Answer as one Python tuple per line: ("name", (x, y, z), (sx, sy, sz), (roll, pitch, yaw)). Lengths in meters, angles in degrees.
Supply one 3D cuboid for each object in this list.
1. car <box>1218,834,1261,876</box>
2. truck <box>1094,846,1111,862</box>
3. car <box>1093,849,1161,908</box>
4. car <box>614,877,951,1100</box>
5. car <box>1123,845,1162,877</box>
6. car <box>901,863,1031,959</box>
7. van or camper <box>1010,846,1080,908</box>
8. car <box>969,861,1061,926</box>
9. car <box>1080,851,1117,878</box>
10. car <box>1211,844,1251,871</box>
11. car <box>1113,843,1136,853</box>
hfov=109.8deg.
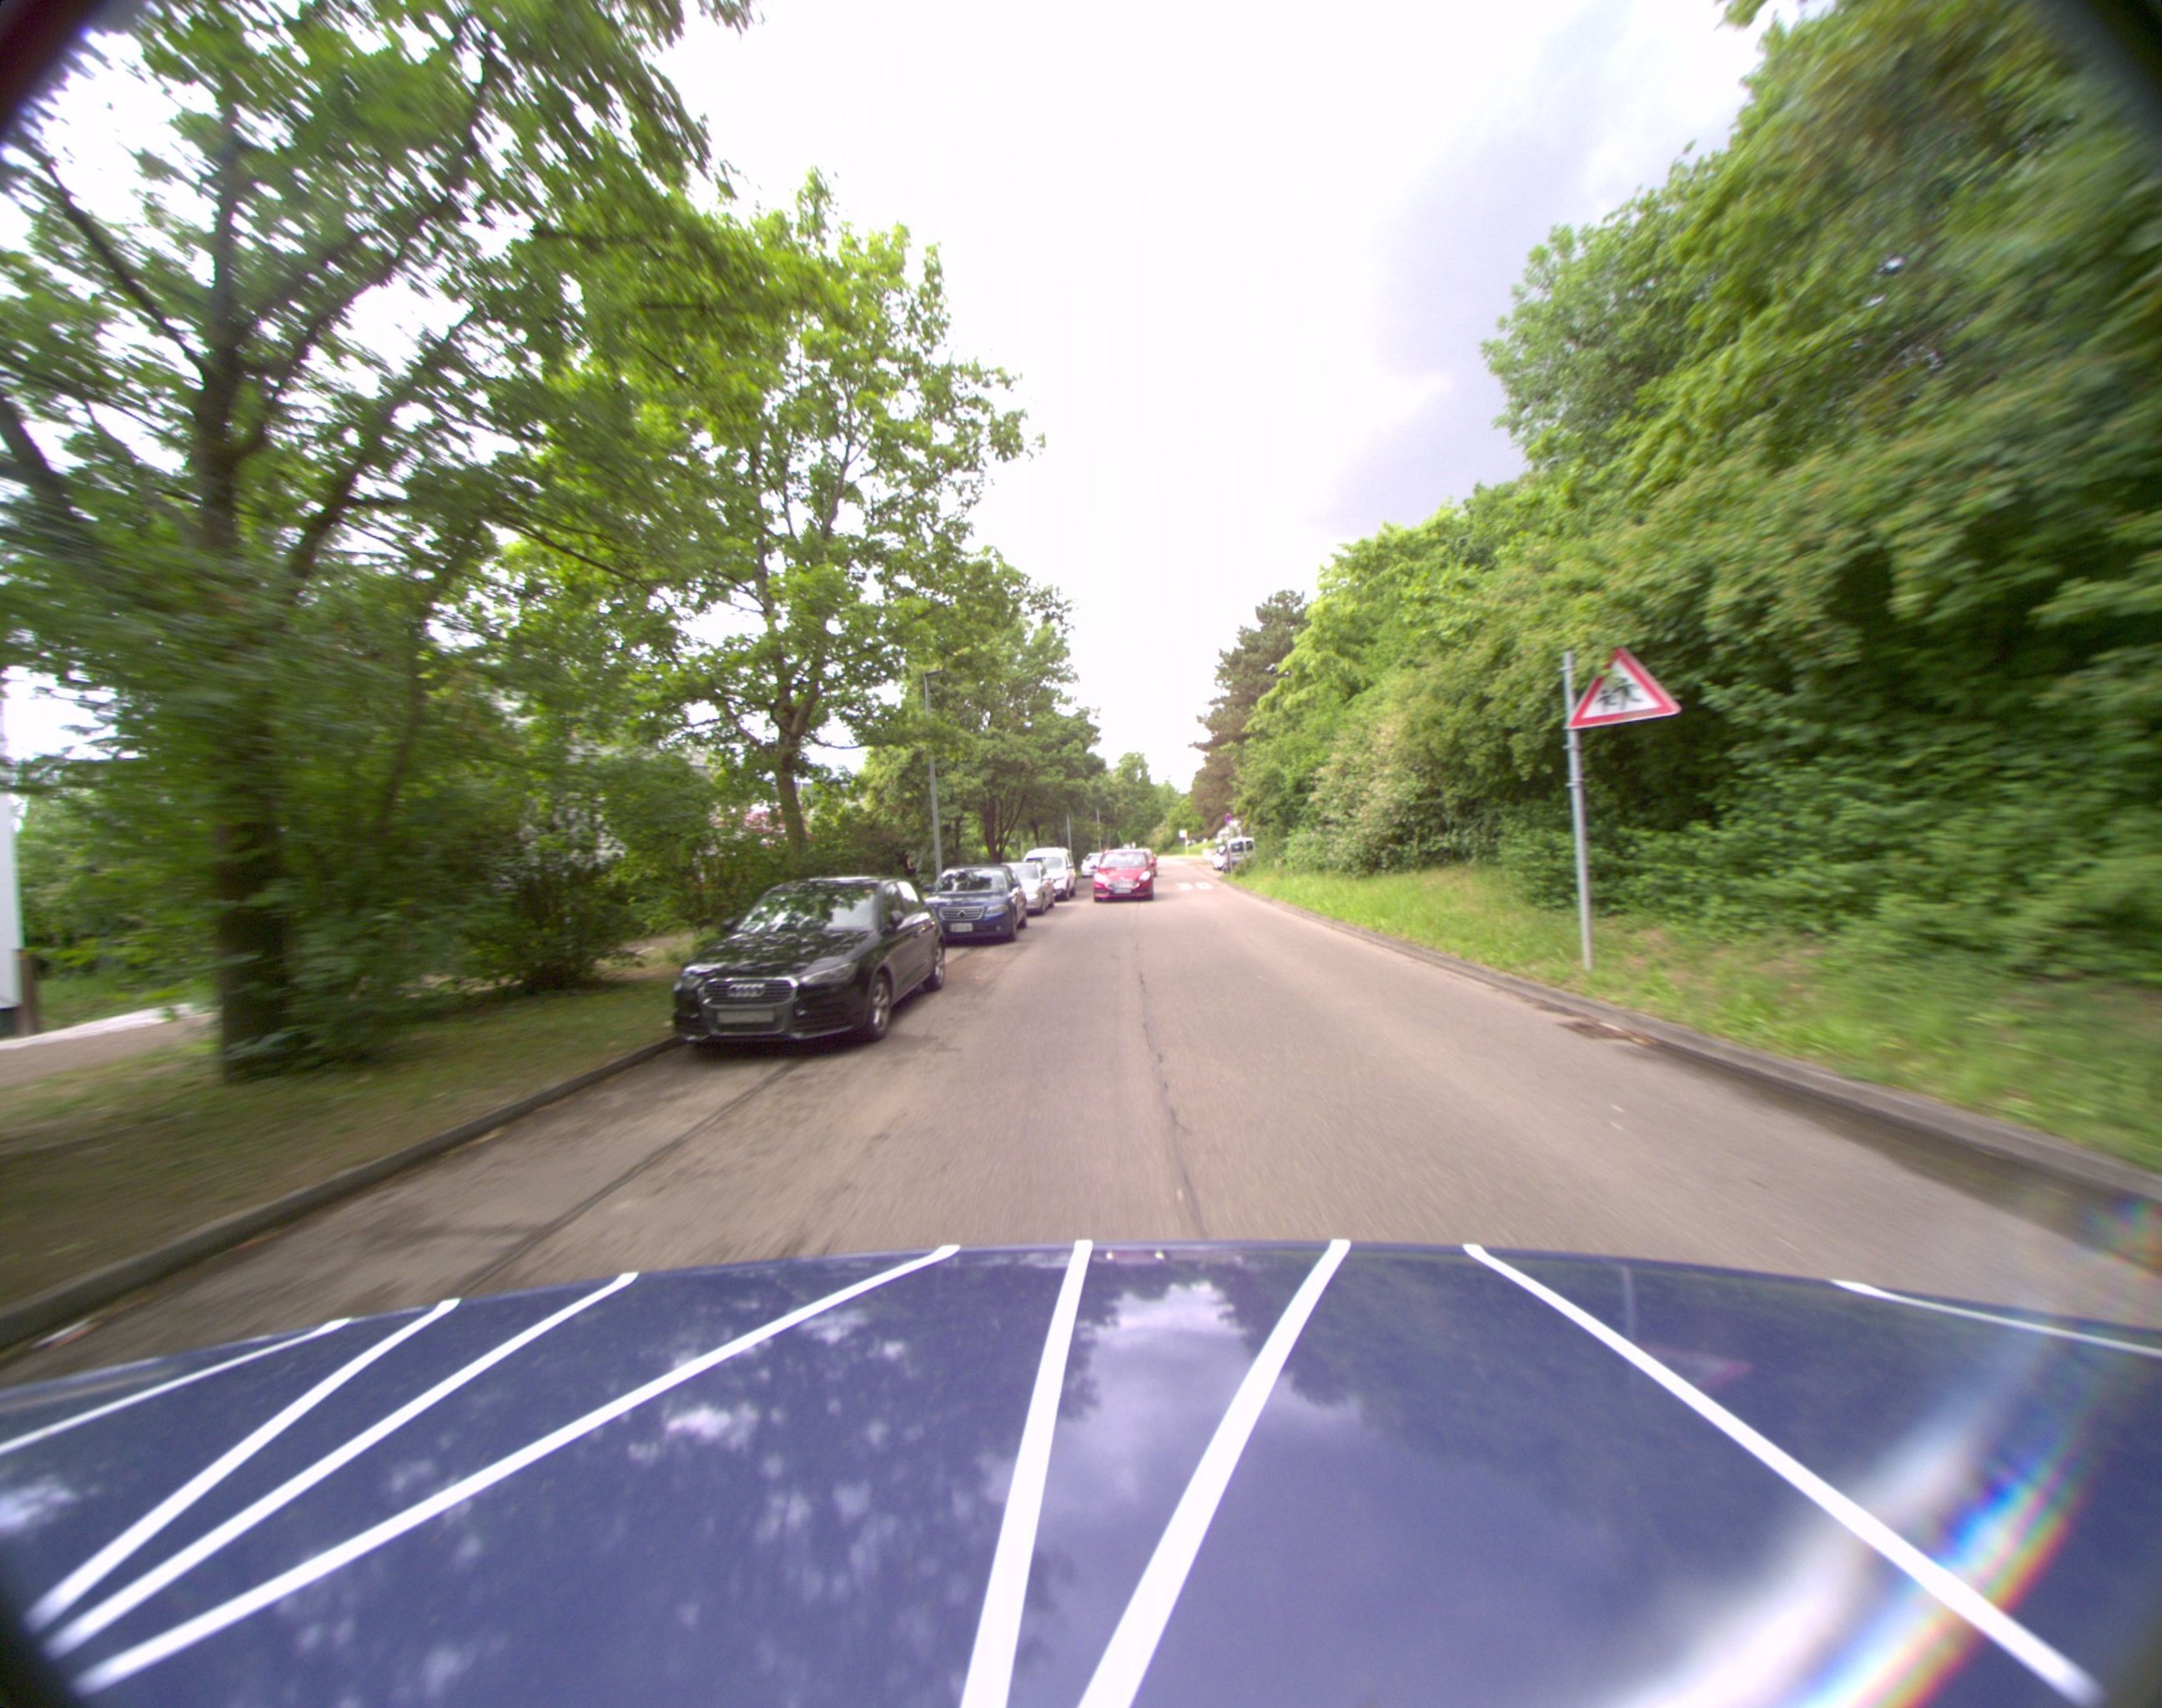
("car", (8.206, 0.054, 39.660), (1.724, 1.910, 4.107), (-5, -1, 7))
("truck", (3.728, -0.036, 130.132), (2.327, 2.455, 6.022), (-5, 0, 5))
("car", (1.424, 0.724, 25.099), (1.945, 1.550, 4.355), (-5, 1, 1))
("car", (-2.573, 1.067, 7.655), (1.725, 1.444, 3.917), (-3, 0, 1))
("car", (3.531, 0.377, 43.876), (1.998, 1.503, 4.000), (-5, 2, 4))
("car", (-2.113, 0.997, 15.239), (1.852, 1.466, 4.478), (-3, 0, 0))
("van or camper", (-1.164, 0.733, 26.692), (1.806, 1.827, 4.320), (-3, 2, 5))
("car", (-1.722, 1.019, 21.235), (1.817, 1.429, 4.243), (-4, 0, 4))
("car", (1.165, 0.610, 48.147), (1.890, 1.498, 5.177), (-3, 0, 5))
("car", (9.074, 0.200, 46.228), (1.809, 1.394, 4.373), (-5, 0, 5))
("car", (8.693, -1.108, 151.615), (3.803, 1.629, 2.003), (-4, 2, 30))
